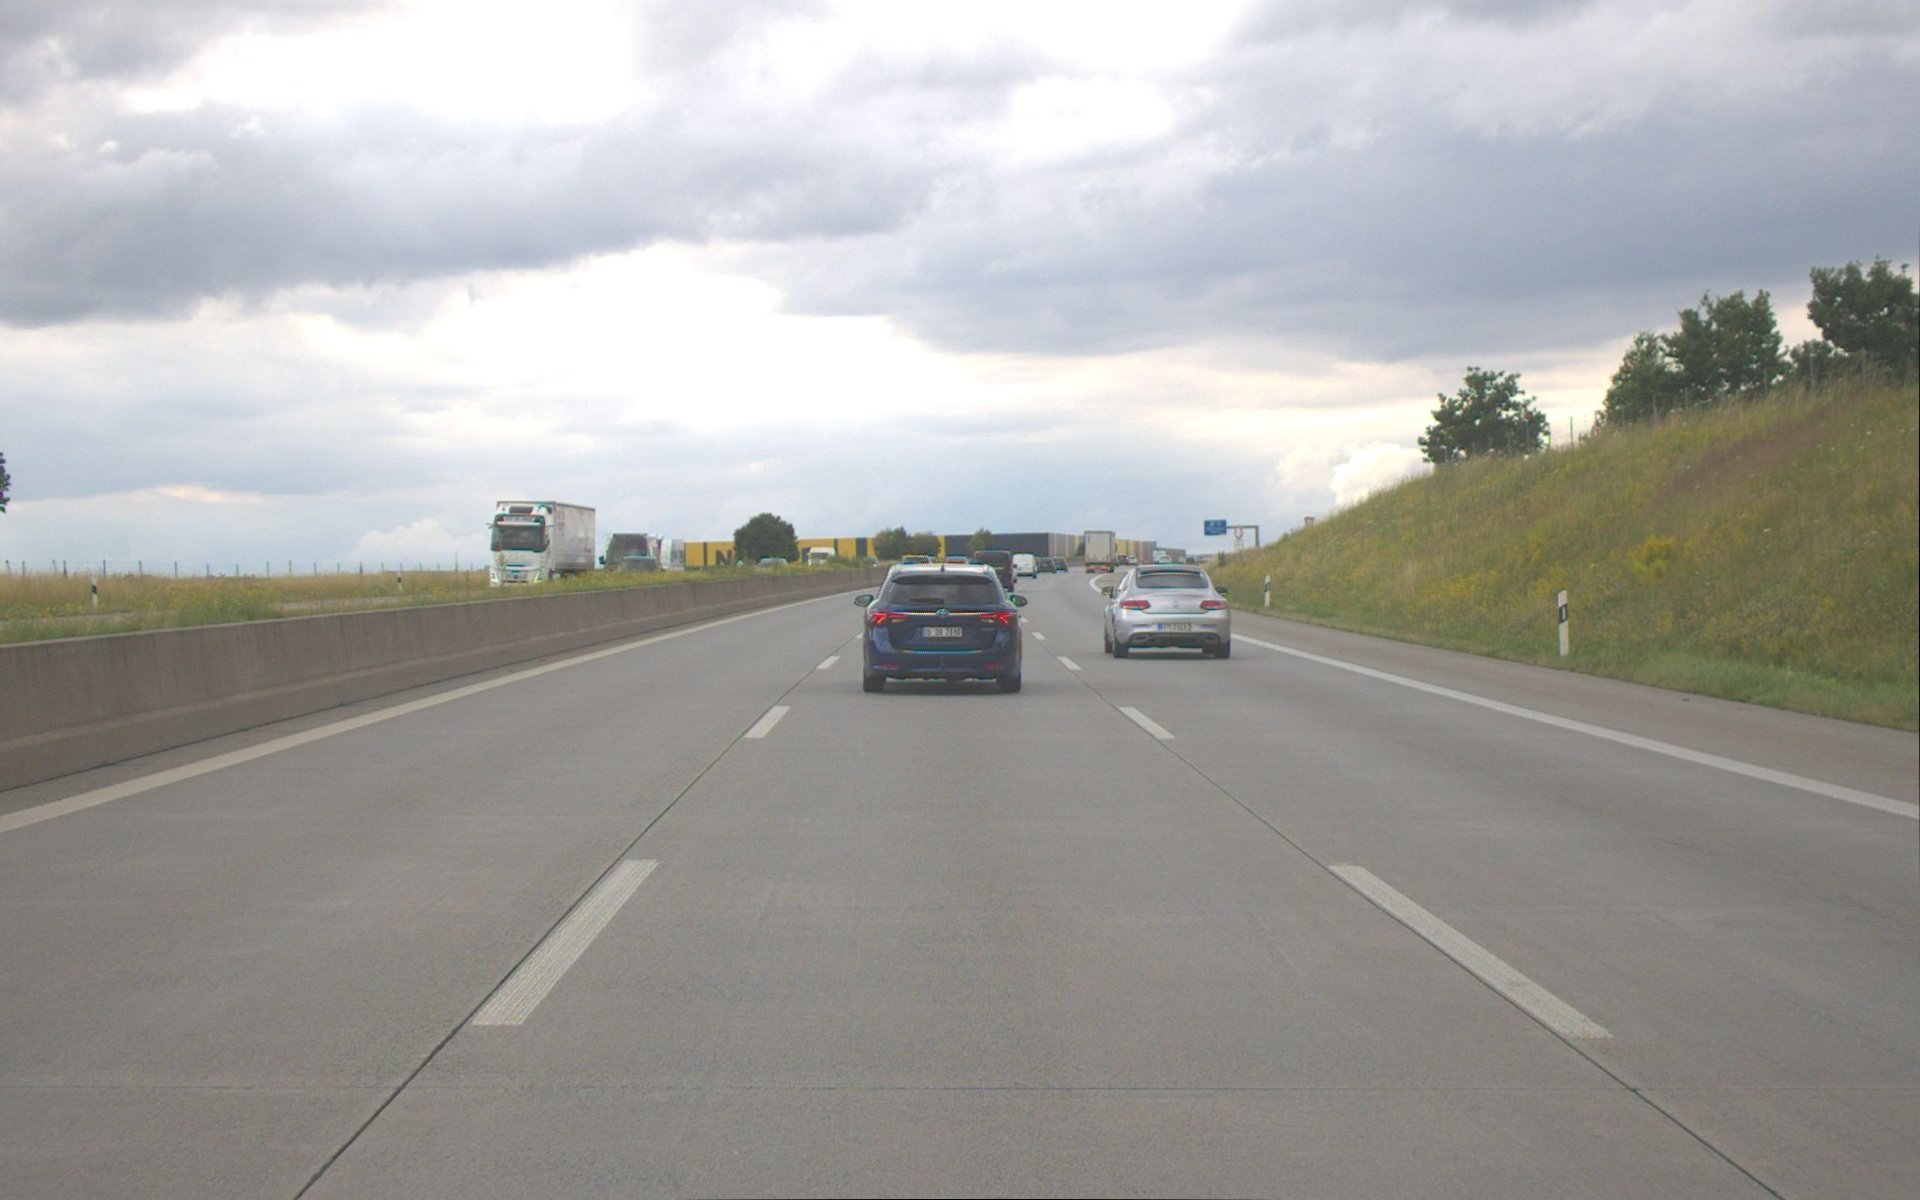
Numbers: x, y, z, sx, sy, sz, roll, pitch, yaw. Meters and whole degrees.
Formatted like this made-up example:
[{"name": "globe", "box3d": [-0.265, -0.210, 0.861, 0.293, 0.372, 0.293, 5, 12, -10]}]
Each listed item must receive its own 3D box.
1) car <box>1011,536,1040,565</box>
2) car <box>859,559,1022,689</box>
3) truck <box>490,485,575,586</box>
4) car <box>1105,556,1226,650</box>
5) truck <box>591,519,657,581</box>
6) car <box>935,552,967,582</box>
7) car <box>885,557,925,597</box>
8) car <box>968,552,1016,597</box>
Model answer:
[{"name": "car", "box3d": [4.860, -3.643, 253.532, 1.994, 2.007, 4.000, 1, 0, 2]}, {"name": "car", "box3d": [-0.198, 0.245, 39.380, 1.774, 1.408, 4.000, 0, 0, 0]}, {"name": "truck", "box3d": [-18.465, -2.732, 148.723, 2.841, 4.241, 6.091, 1, 0, 0]}, {"name": "car", "box3d": [3.159, 0.036, 53.454, 1.789, 1.399, 4.221, 0, 0, 2]}, {"name": "truck", "box3d": [-15.118, -2.256, 155.042, 2.251, 2.716, 7.127, 1, 1, 0]}, {"name": "car", "box3d": [-0.641, -2.256, 236.334, 1.993, 2.007, 4.000, 1, 0, -2]}, {"name": "car", "box3d": [-2.870, -1.197, 179.489, 2.046, 2.007, 4.000, 1, 0, -1]}, {"name": "car", "box3d": [1.459, -1.142, 156.580, 1.993, 2.007, 4.000, 1, 0, -2]}]
